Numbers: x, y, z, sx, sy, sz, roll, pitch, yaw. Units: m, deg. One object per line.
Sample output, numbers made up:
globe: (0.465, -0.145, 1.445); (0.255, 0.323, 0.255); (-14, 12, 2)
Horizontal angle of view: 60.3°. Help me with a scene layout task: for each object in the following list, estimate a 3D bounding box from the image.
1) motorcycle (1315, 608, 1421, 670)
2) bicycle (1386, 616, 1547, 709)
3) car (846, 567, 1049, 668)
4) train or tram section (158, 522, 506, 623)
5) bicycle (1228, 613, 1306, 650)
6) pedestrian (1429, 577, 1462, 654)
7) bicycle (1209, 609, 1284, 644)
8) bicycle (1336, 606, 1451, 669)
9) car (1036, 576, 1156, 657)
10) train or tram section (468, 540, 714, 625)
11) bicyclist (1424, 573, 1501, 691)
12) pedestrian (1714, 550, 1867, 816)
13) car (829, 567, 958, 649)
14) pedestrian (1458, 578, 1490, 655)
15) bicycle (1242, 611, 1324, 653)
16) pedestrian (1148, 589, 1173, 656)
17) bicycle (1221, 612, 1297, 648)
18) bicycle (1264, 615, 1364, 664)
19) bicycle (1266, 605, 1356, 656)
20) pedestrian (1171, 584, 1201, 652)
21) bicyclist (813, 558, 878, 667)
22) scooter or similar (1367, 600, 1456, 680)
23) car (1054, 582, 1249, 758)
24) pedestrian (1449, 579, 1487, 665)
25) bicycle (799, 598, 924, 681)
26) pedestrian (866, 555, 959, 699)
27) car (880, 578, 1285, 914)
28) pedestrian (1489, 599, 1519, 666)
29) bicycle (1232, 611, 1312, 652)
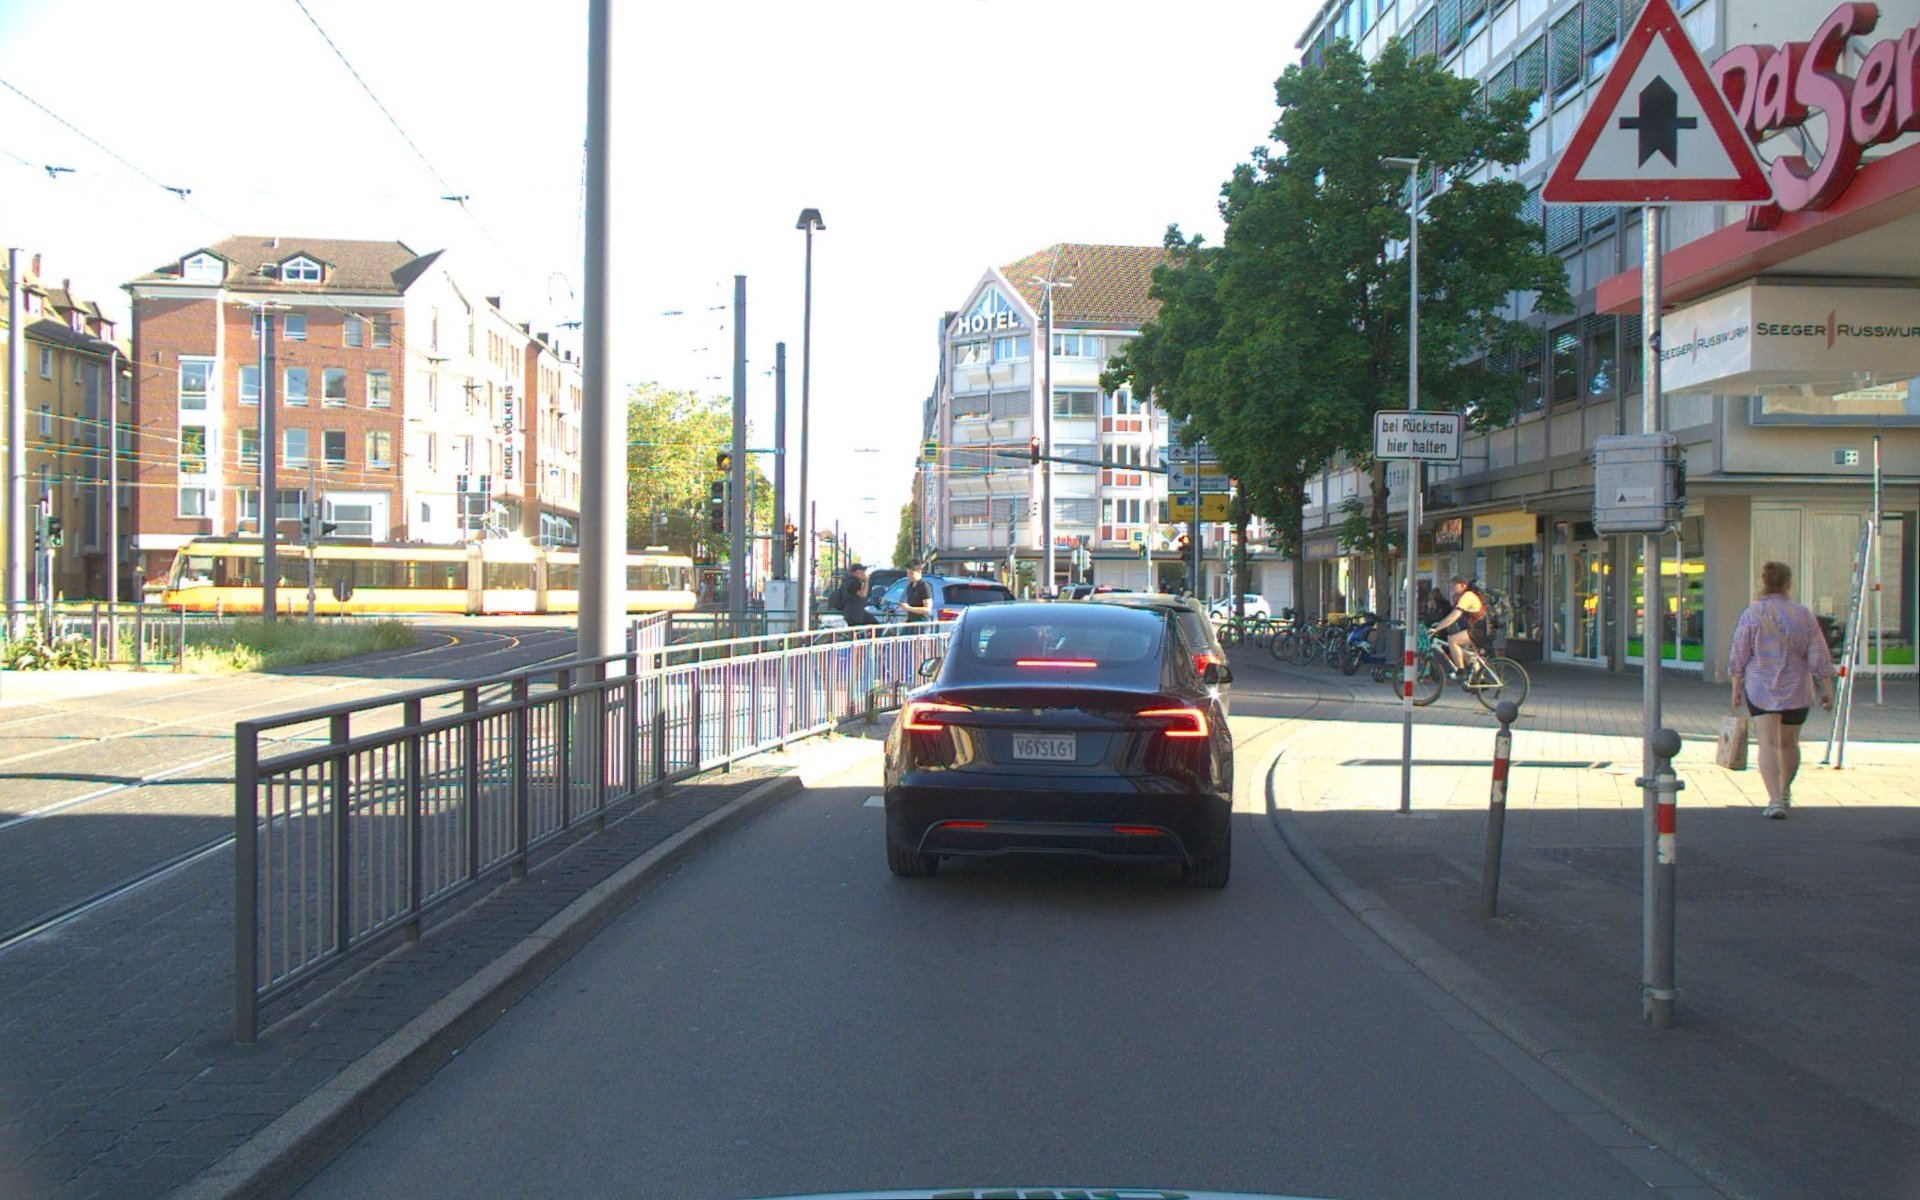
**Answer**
motorcycle: (8.148, 0.768, 33.067); (1.951, 1.147, 0.596); (2, 0, -3)
bicycle: (6.578, 0.792, 21.519); (1.931, 1.091, 0.775); (2, 0, 17)
car: (-0.297, 0.250, 28.223); (1.762, 1.545, 4.181); (2, 0, -27)
train or tram section: (-27.187, -1.100, 72.544); (14.045, 3.780, 2.647); (2, 0, -38)
bicycle: (7.828, 0.793, 42.205); (1.885, 0.903, 0.526); (1, 0, -1)
pedestrian: (10.622, 0.341, 36.189); (0.520, 1.670, 0.606); (0, 0, -1)
bicycle: (7.657, 0.705, 44.232); (1.885, 0.906, 0.526); (1, 0, -1)
bicycle: (8.131, 0.703, 31.041); (2.010, 1.141, 0.482); (1, 0, -1)
car: (2.838, 0.329, 35.209); (1.790, 1.545, 3.643); (2, 0, -7)
train or tram section: (-18.158, -0.731, 83.434); (2.587, 3.783, 15.361); (2, 0, 28)
bicyclist: (6.521, 0.409, 21.499); (0.888, 1.463, 0.629); (2, 0, 16)
pedestrian: (5.622, 0.541, 11.237); (0.800, 1.712, 0.714); (2, 0, 21)
car: (-1.458, 0.142, 34.497); (1.794, 1.545, 4.201); (2, 0, -15)
pedestrian: (11.310, 0.366, 36.396); (0.520, 1.670, 0.594); (0, 0, -1)
bicycle: (7.818, 0.778, 40.073); (1.885, 0.967, 0.526); (1, 0, -1)
pedestrian: (5.234, 0.576, 43.161); (0.550, 1.712, 0.750); (2, 0, 3)
bicycle: (7.807, 0.772, 43.185); (1.885, 0.906, 0.526); (1, 0, -1)
bicycle: (7.523, 0.836, 35.168); (2.010, 0.999, 0.482); (1, 0, -1)
bicycle: (7.855, 0.679, 37.082); (1.885, 1.116, 0.554); (1, 0, -1)
pedestrian: (5.580, 0.443, 40.836); (0.616, 1.642, 0.643); (2, 0, 1)
bicyclist: (-1.654, 0.178, 23.843); (0.821, 1.526, 0.559); (2, 0, -10)
scooter or similar: (7.800, 0.691, 28.572); (1.392, 1.340, 0.690); (1, -2, -28)
car: (1.927, 0.580, 16.269); (1.618, 1.443, 4.003); (2, 1, 8)
pedestrian: (10.026, 0.432, 32.643); (0.583, 1.670, 0.466); (0, 0, -1)
bicycle: (-1.431, 0.568, 23.839); (1.697, 1.107, 0.676); (2, 0, -10)
pedestrian: (-0.601, 0.343, 20.891); (0.992, 1.772, 0.524); (2, 0, -27)
car: (0.484, 0.683, 9.555); (1.812, 1.510, 3.784); (2, 0, -3)
pedestrian: (10.698, 0.638, 32.518); (0.411, 1.303, 0.531); (0, 0, -1)
bicycle: (7.749, 0.777, 41.086); (1.885, 0.967, 0.526); (1, 0, -1)
